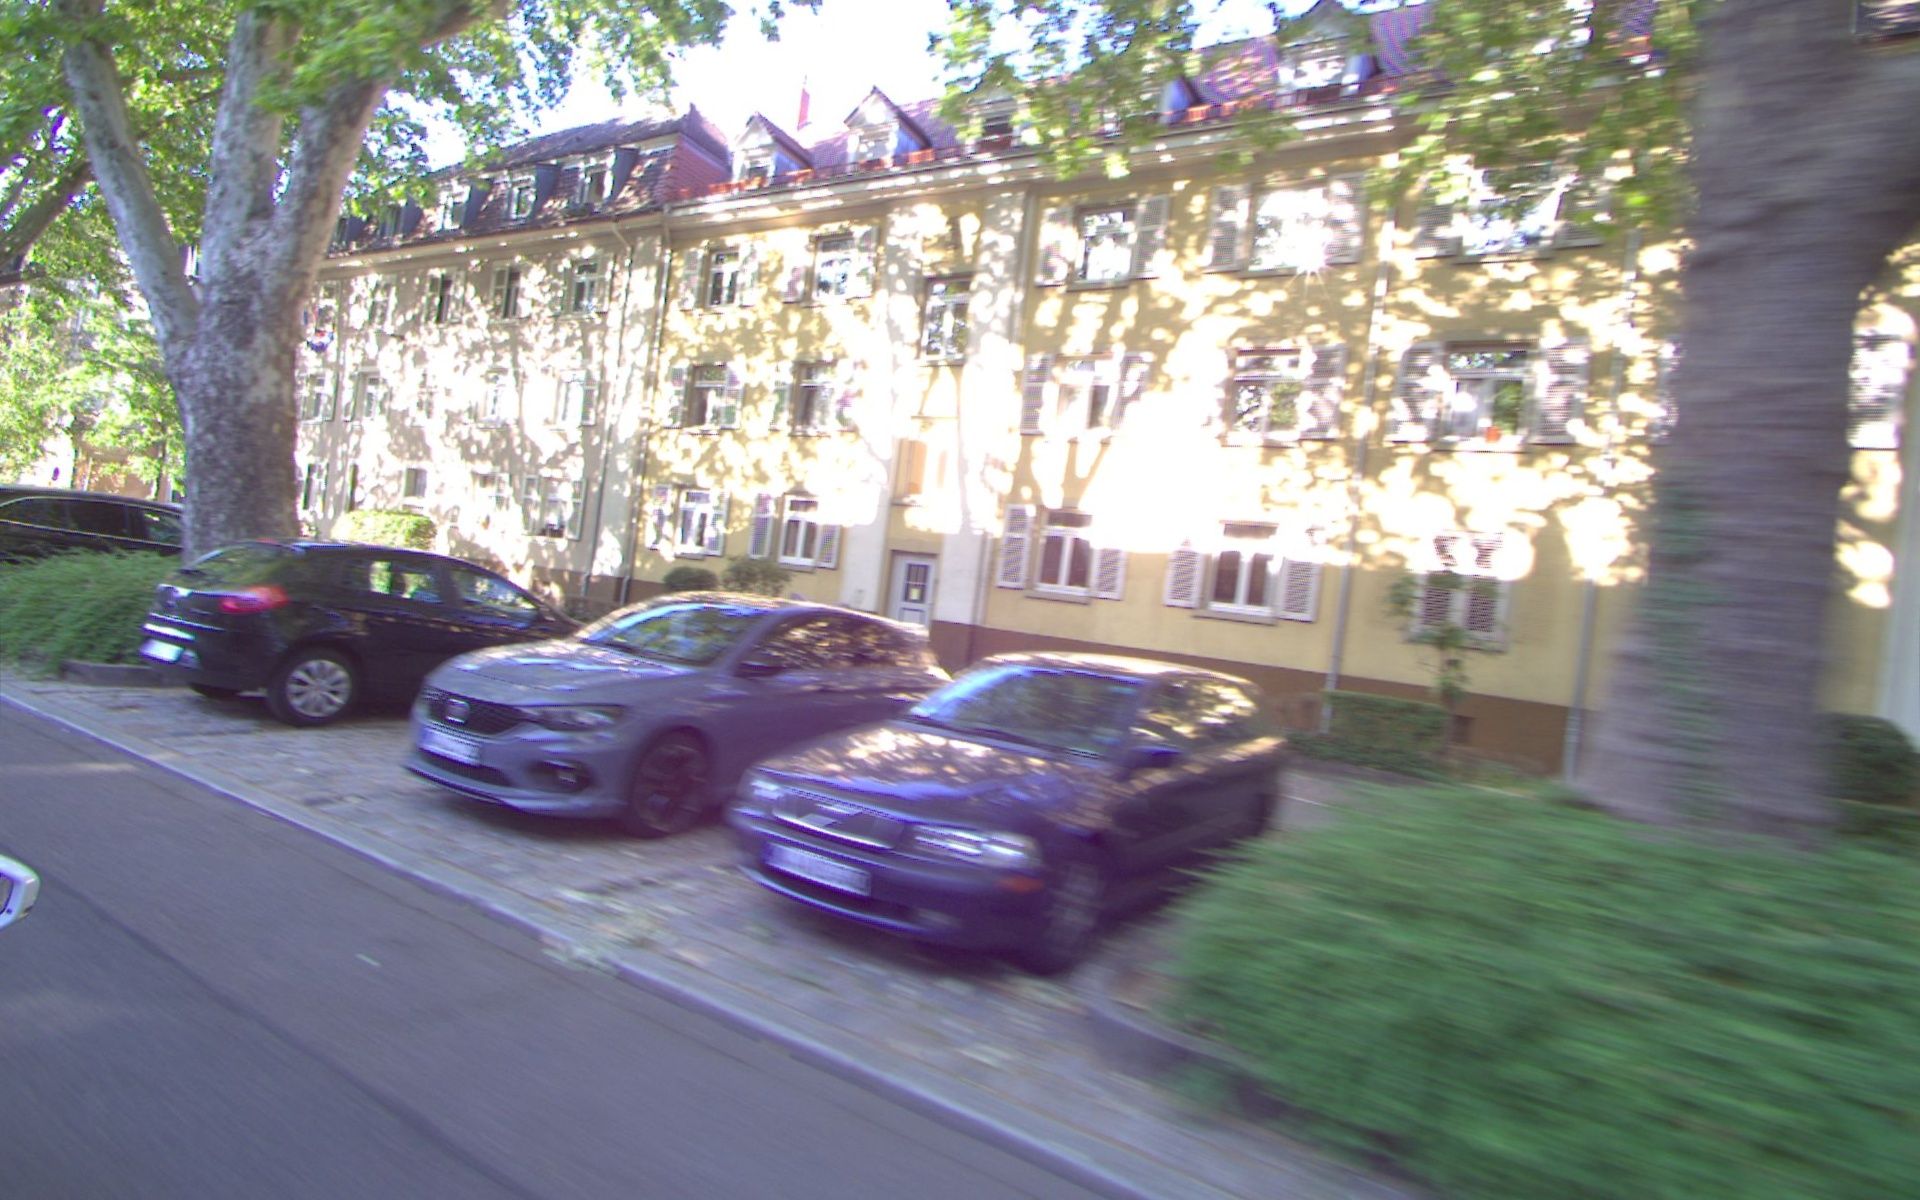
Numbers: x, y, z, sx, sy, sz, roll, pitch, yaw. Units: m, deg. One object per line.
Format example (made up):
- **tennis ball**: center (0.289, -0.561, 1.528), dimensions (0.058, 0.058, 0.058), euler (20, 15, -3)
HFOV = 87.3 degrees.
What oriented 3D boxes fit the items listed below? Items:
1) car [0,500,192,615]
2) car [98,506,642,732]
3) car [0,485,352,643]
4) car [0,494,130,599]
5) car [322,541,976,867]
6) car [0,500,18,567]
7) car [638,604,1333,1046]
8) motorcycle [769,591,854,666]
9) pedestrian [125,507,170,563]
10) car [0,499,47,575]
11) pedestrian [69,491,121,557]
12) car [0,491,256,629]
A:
- **car**: center (-14.391, -0.765, 14.907), dimensions (1.915, 1.456, 4.304), euler (7, -1, 30)
- **car**: center (-5.078, 0.264, 9.209), dimensions (1.682, 1.527, 3.845), euler (7, -1, 31)
- **car**: center (-10.560, -0.454, 12.654), dimensions (1.996, 1.622, 4.496), euler (7, 0, 35)
- **car**: center (-16.393, -1.055, 16.271), dimensions (1.767, 1.527, 4.149), euler (7, -1, 32)
- **car**: center (-1.825, 0.681, 7.304), dimensions (1.866, 1.501, 4.255), euler (7, -1, 31)
- **car**: center (-22.917, -1.726, 21.344), dimensions (1.724, 1.452, 3.889), euler (7, -1, 32)
- **car**: center (0.587, 0.999, 5.832), dimensions (1.776, 1.396, 4.400), euler (6, -2, 35)
- **motorcycle**: center (-2.973, 0.579, 20.259), dimensions (0.612, 1.379, 1.805), euler (7, 2, 29)
- **pedestrian**: center (-23.489, -1.874, 29.073), dimensions (0.807, 1.472, 0.662), euler (7, 0, 32)
- **car**: center (-21.189, -1.559, 19.559), dimensions (1.861, 1.463, 4.695), euler (7, -1, 32)
- **pedestrian**: center (-24.850, -2.180, 28.904), dimensions (0.807, 1.760, 0.761), euler (7, 0, 32)
- **car**: center (-12.371, -0.595, 14.033), dimensions (1.748, 1.565, 3.682), euler (7, -1, 33)
